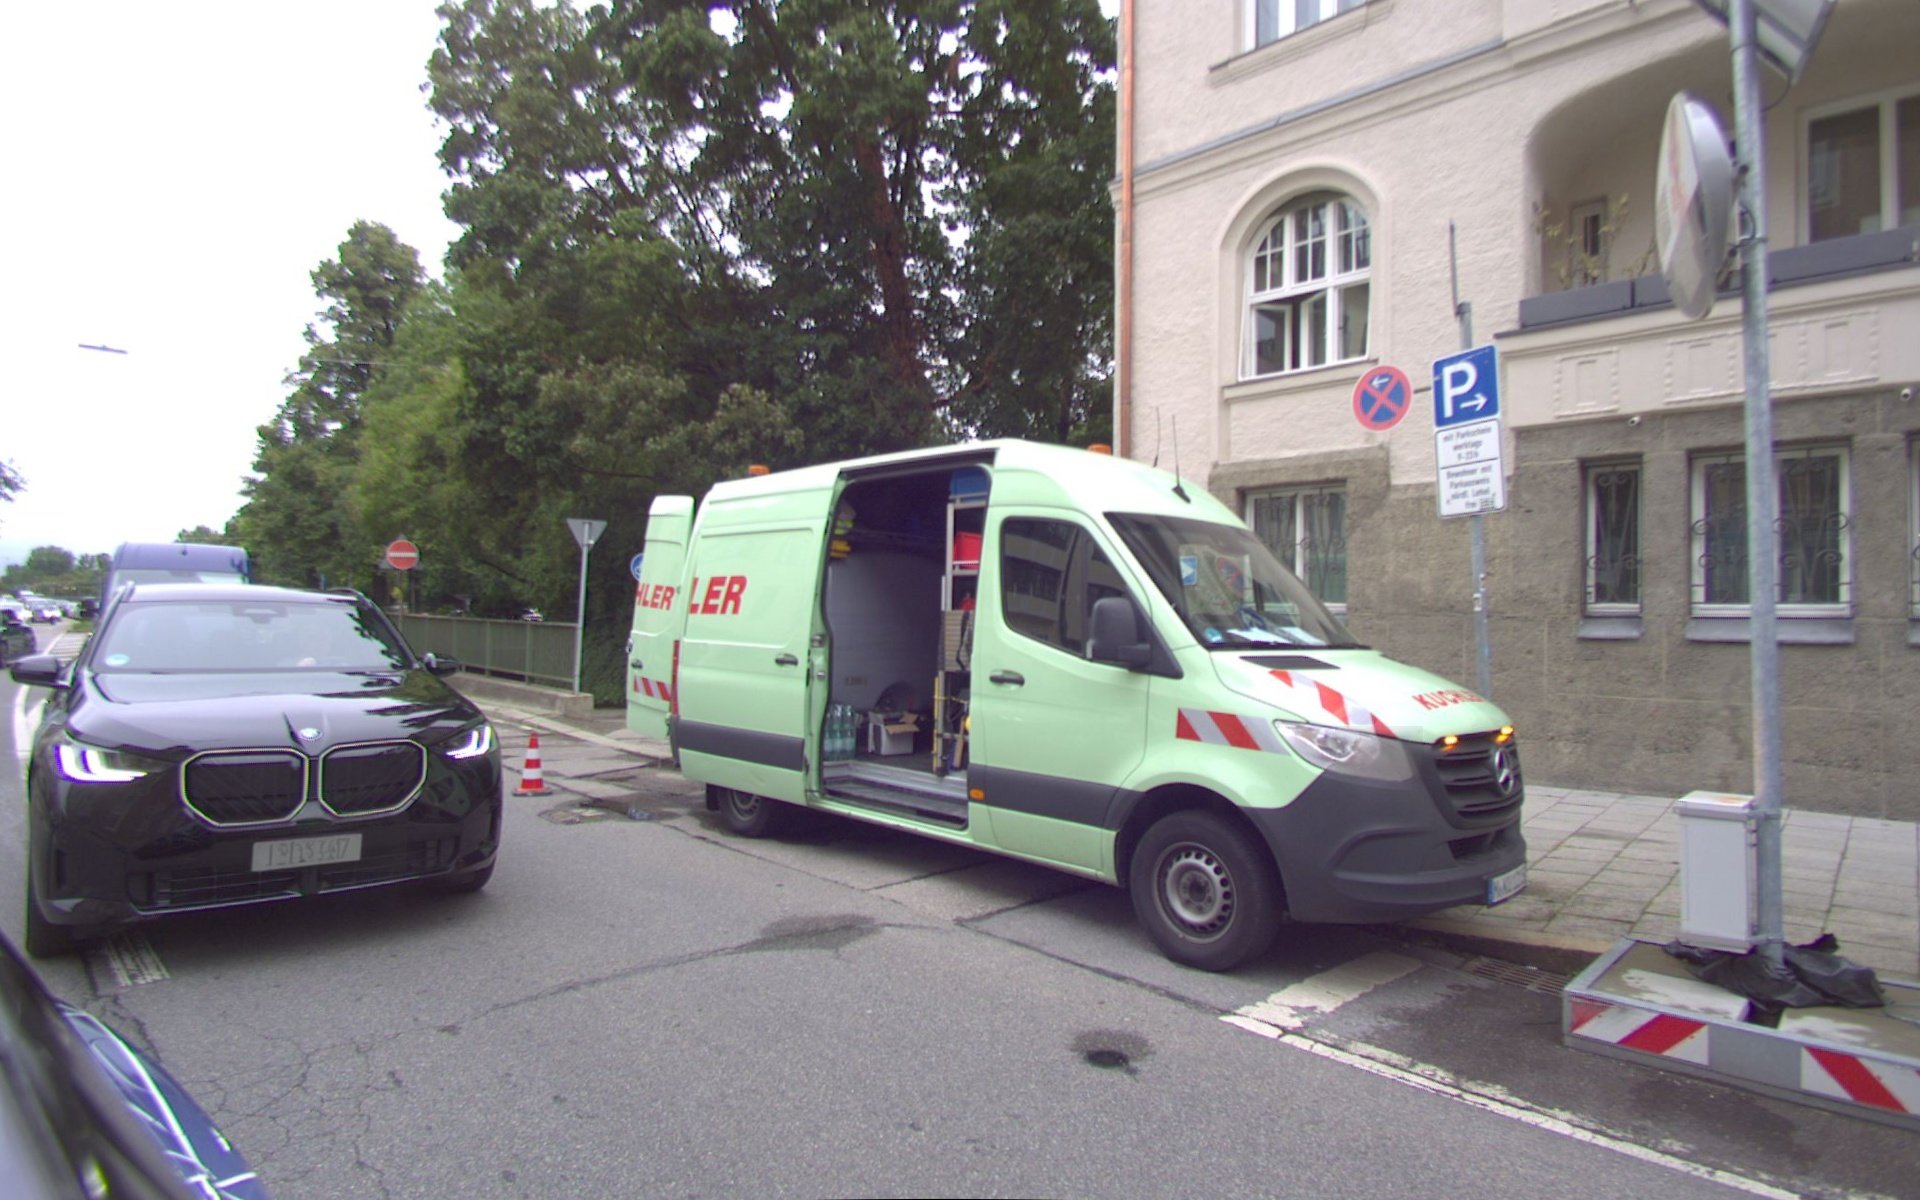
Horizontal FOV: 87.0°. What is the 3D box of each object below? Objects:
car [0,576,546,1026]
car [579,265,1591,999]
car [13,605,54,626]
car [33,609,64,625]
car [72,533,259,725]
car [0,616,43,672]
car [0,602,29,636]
[{"bbox_3d":[-4.092,0.724,5.776,1.893,1.577,4.300,2,-1,-41],"label":"car"},{"bbox_3d":[0.016,0.153,6.725,6.797,2.592,2.117,-1,-1,45],"label":"car"},{"bbox_3d":[-63.221,1.060,69.092,1.810,1.409,4.007,3,-2,-40],"label":"car"},{"bbox_3d":[-81.308,1.527,90.327,1.810,1.409,4.007,3,-2,-40],"label":"car"},{"bbox_3d":[-12.546,0.371,16.344,1.974,2.510,6.249,1,0,-35],"label":"car"},{"bbox_3d":[-22.900,1.012,23.907,1.472,1.223,3.619,1,-1,-37],"label":"car"},{"bbox_3d":[-47.474,0.933,49.943,1.968,1.608,4.007,3,-2,-39],"label":"car"}]
